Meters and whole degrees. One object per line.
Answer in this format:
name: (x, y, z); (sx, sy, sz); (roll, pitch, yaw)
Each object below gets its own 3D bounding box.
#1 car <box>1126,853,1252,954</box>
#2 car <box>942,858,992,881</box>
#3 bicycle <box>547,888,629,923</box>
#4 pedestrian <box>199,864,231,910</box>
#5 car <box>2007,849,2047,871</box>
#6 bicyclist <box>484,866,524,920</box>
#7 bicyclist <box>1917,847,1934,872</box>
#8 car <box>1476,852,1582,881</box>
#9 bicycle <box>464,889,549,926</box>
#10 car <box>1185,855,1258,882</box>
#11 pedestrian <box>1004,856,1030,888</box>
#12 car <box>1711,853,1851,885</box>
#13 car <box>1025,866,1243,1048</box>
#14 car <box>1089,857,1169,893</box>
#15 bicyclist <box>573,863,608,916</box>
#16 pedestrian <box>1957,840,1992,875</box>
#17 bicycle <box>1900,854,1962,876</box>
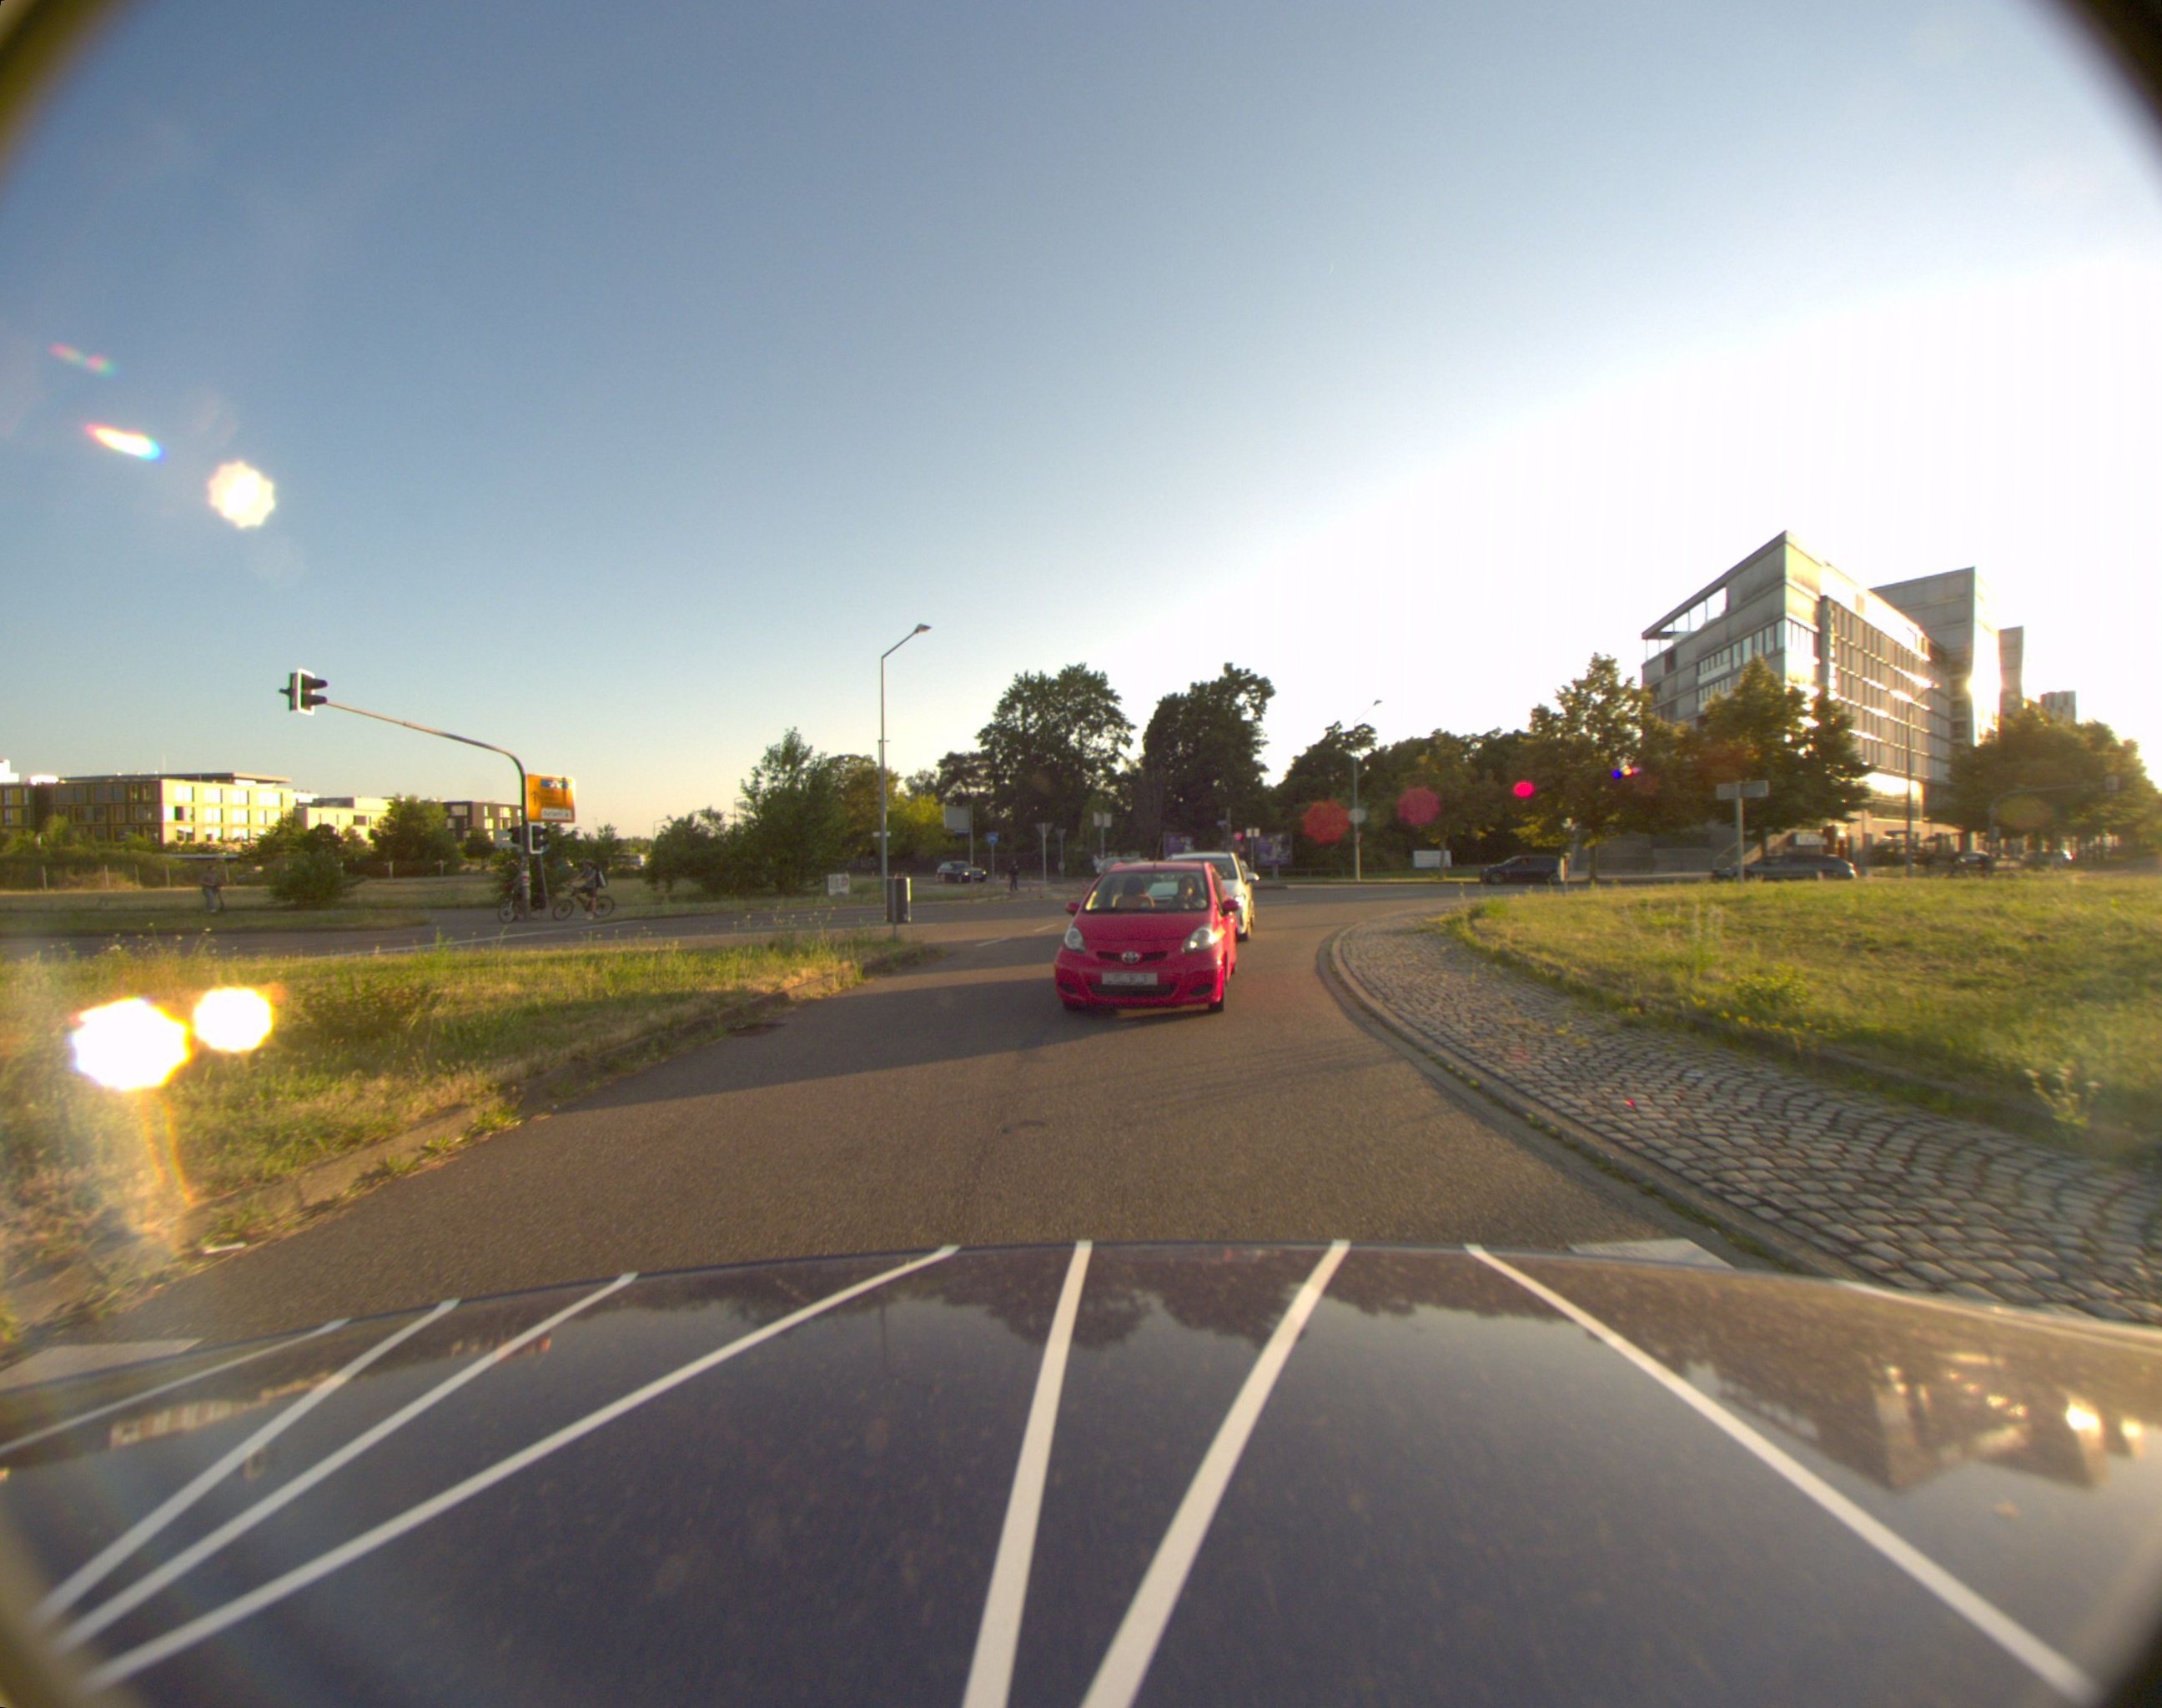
car: (2.155, 0.813, 14.371); (1.997, 1.596, 4.202); (-1, 0, 11)
car: (-8.039, 1.073, 53.138); (2.003, 1.477, 3.990); (-1, 0, -32)
bicycle: (-16.123, 1.662, 24.897); (0.708, 0.957, 2.149); (-1, 0, 29)
pedestrian: (-32.228, 1.222, 28.288); (0.519, 1.674, 0.566); (-1, 1, 9)
car: (90.486, 0.557, 72.661); (4.007, 2.002, 1.995); (-1, 0, -33)
bicyclist: (-18.328, 1.239, 24.150); (0.724, 1.680, 0.690); (-1, 1, 15)
bicyclist: (48.946, 0.303, 44.034); (0.693, 1.432, 0.610); (-2, 1, -39)
car: (22.442, 0.635, 38.262); (4.374, 1.368, 2.003); (-1, 0, 22)
bicycle: (-18.266, 1.680, 24.234); (0.708, 0.958, 2.109); (-1, 2, 17)
car: (8.496, 0.882, 46.161); (3.881, 1.571, 1.958); (-1, 0, 37)
pedestrian: (-3.328, 0.930, 39.230); (0.993, 1.581, 0.924); (-1, 1, -33)
car: (31.866, 0.683, 34.759); (4.340, 1.368, 2.004); (-1, 0, 28)
car: (0.835, 0.903, 8.463); (1.686, 1.412, 4.004); (-1, 0, 15)
car: (2.238, 0.945, 36.830); (2.003, 1.588, 4.305); (-1, 0, -25)
bicyclist: (-16.104, 1.147, 24.957); (0.723, 1.680, 0.690); (-1, 1, 31)
pedestrian: (51.323, 0.190, 43.653); (0.776, 2.002, 0.998); (-2, 1, -9)
bicycle: (49.052, 0.622, 43.887); (0.744, 1.237, 2.342); (-1, 1, -38)
